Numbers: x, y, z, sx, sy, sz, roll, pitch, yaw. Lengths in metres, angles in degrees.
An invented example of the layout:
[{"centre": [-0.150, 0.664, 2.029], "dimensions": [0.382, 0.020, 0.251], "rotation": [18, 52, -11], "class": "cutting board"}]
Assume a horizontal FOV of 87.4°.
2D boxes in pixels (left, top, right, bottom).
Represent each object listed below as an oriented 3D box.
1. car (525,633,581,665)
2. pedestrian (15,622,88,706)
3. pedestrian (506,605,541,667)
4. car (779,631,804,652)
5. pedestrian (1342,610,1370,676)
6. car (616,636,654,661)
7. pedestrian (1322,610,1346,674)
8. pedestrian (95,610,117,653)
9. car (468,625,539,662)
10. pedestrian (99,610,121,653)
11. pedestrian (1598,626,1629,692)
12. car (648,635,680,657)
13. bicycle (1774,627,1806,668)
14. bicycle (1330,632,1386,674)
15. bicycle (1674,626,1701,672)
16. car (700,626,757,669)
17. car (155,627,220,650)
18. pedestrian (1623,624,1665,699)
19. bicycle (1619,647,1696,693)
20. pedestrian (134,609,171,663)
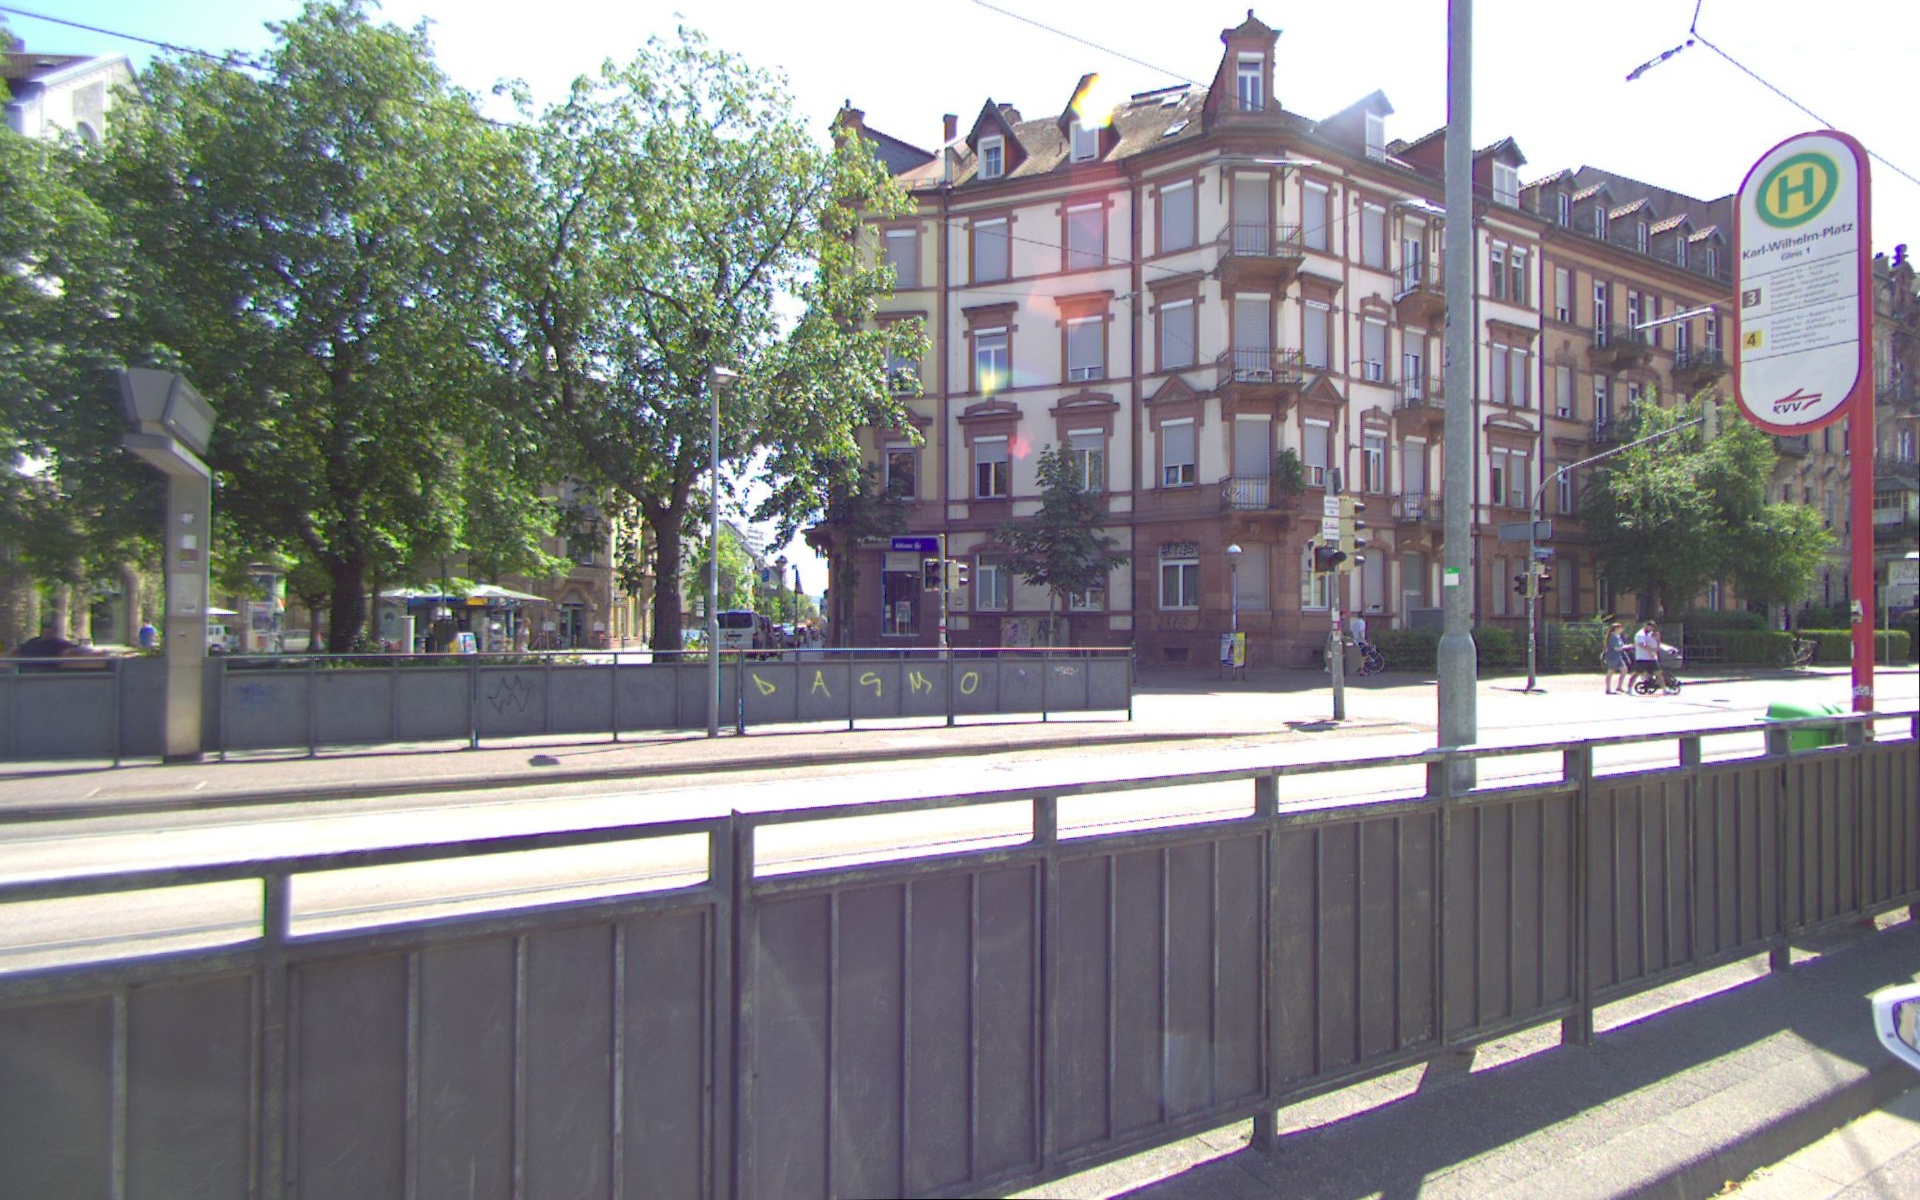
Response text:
[{"centre": [-20.274, 2.428, 50.219], "dimensions": [1.512, 1.461, 3.739], "rotation": [1, -1, -5], "class": "car"}, {"centre": [-14.691, 1.021, 16.251], "dimensions": [0.607, 1.304, 0.646], "rotation": [1, -1, 21], "class": "pedestrian"}, {"centre": [-14.720, 1.207, 33.870], "dimensions": [0.797, 2.040, 0.716], "rotation": [0, -1, 9], "class": "pedestrian"}, {"centre": [-12.543, 3.052, 74.833], "dimensions": [1.512, 1.461, 3.739], "rotation": [1, -1, -5], "class": "car"}, {"centre": [11.191, 1.210, 28.363], "dimensions": [0.556, 1.849, 0.632], "rotation": [0, -1, 39], "class": "pedestrian"}, {"centre": [-20.660, 3.045, 63.998], "dimensions": [1.513, 1.461, 3.738], "rotation": [1, -1, -6], "class": "car"}, {"centre": [10.752, 1.199, 28.893], "dimensions": [0.500, 1.791, 0.527], "rotation": [0, -1, 39], "class": "pedestrian"}, {"centre": [-32.929, 1.216, 38.740], "dimensions": [0.520, 1.644, 0.493], "rotation": [1, -1, -30], "class": "pedestrian"}, {"centre": [-19.157, 1.806, 42.320], "dimensions": [1.512, 1.461, 3.739], "rotation": [1, -1, -5], "class": "car"}, {"centre": [-33.195, 1.221, 39.232], "dimensions": [0.554, 1.644, 0.510], "rotation": [1, -1, -30], "class": "pedestrian"}, {"centre": [15.588, 1.395, 23.957], "dimensions": [0.497, 1.536, 0.469], "rotation": [1, -1, 18], "class": "pedestrian"}, {"centre": [-20.929, 3.237, 71.050], "dimensions": [1.513, 1.461, 3.738], "rotation": [1, -1, -6], "class": "car"}, {"centre": [28.494, 1.615, 34.501], "dimensions": [0.583, 1.374, 2.434], "rotation": [0, -1, 34], "class": "bicycle"}, {"centre": [11.725, 1.545, 29.588], "dimensions": [1.494, 1.185, 0.364], "rotation": [1, 0, 34], "class": "bicycle"}, {"centre": [23.264, 1.541, 32.134], "dimensions": [0.606, 1.414, 2.301], "rotation": [0, -1, 34], "class": "bicycle"}, {"centre": [-8.454, 1.694, 36.929], "dimensions": [1.512, 1.461, 3.739], "rotation": [1, -1, -5], "class": "car"}, {"centre": [-31.129, 1.550, 40.518], "dimensions": [0.847, 0.876, 1.910], "rotation": [0, -1, 35], "class": "car"}, {"centre": [15.320, 1.370, 22.514], "dimensions": [0.641, 1.637, 0.469], "rotation": [1, 2, 18], "class": "pedestrian"}, {"centre": [16.065, 1.594, 23.159], "dimensions": [1.376, 1.026, 0.389], "rotation": [-1, -1, 21], "class": "bicycle"}, {"centre": [-26.933, 1.197, 33.500], "dimensions": [0.703, 1.774, 0.616], "rotation": [1, -1, -6], "class": "pedestrian"}]
